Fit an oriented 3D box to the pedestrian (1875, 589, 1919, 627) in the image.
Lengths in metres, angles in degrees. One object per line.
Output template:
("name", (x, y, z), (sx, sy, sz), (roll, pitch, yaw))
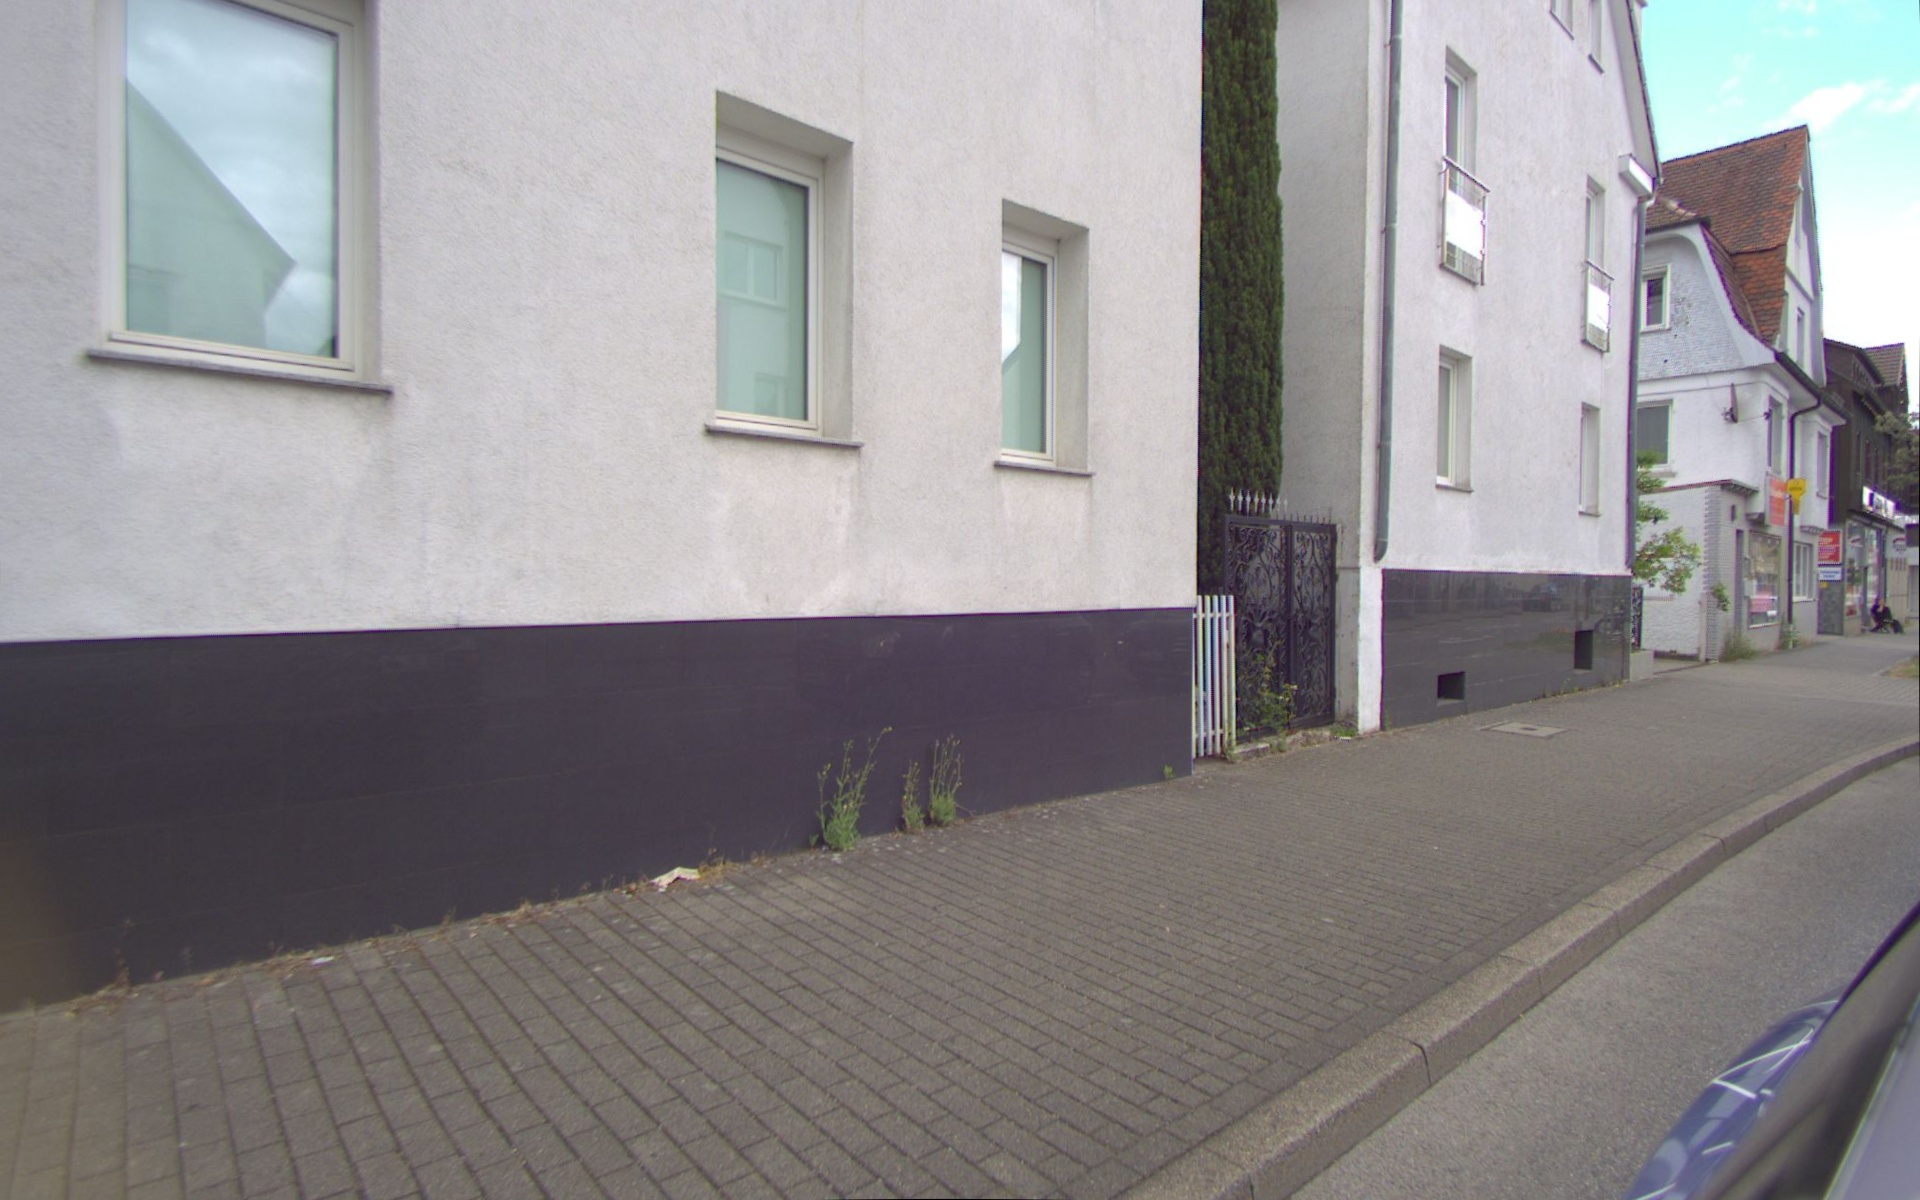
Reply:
("pedestrian", (33.468, 0.268, 36.125), (0.653, 1.295, 0.985), (0, 1, -29))
